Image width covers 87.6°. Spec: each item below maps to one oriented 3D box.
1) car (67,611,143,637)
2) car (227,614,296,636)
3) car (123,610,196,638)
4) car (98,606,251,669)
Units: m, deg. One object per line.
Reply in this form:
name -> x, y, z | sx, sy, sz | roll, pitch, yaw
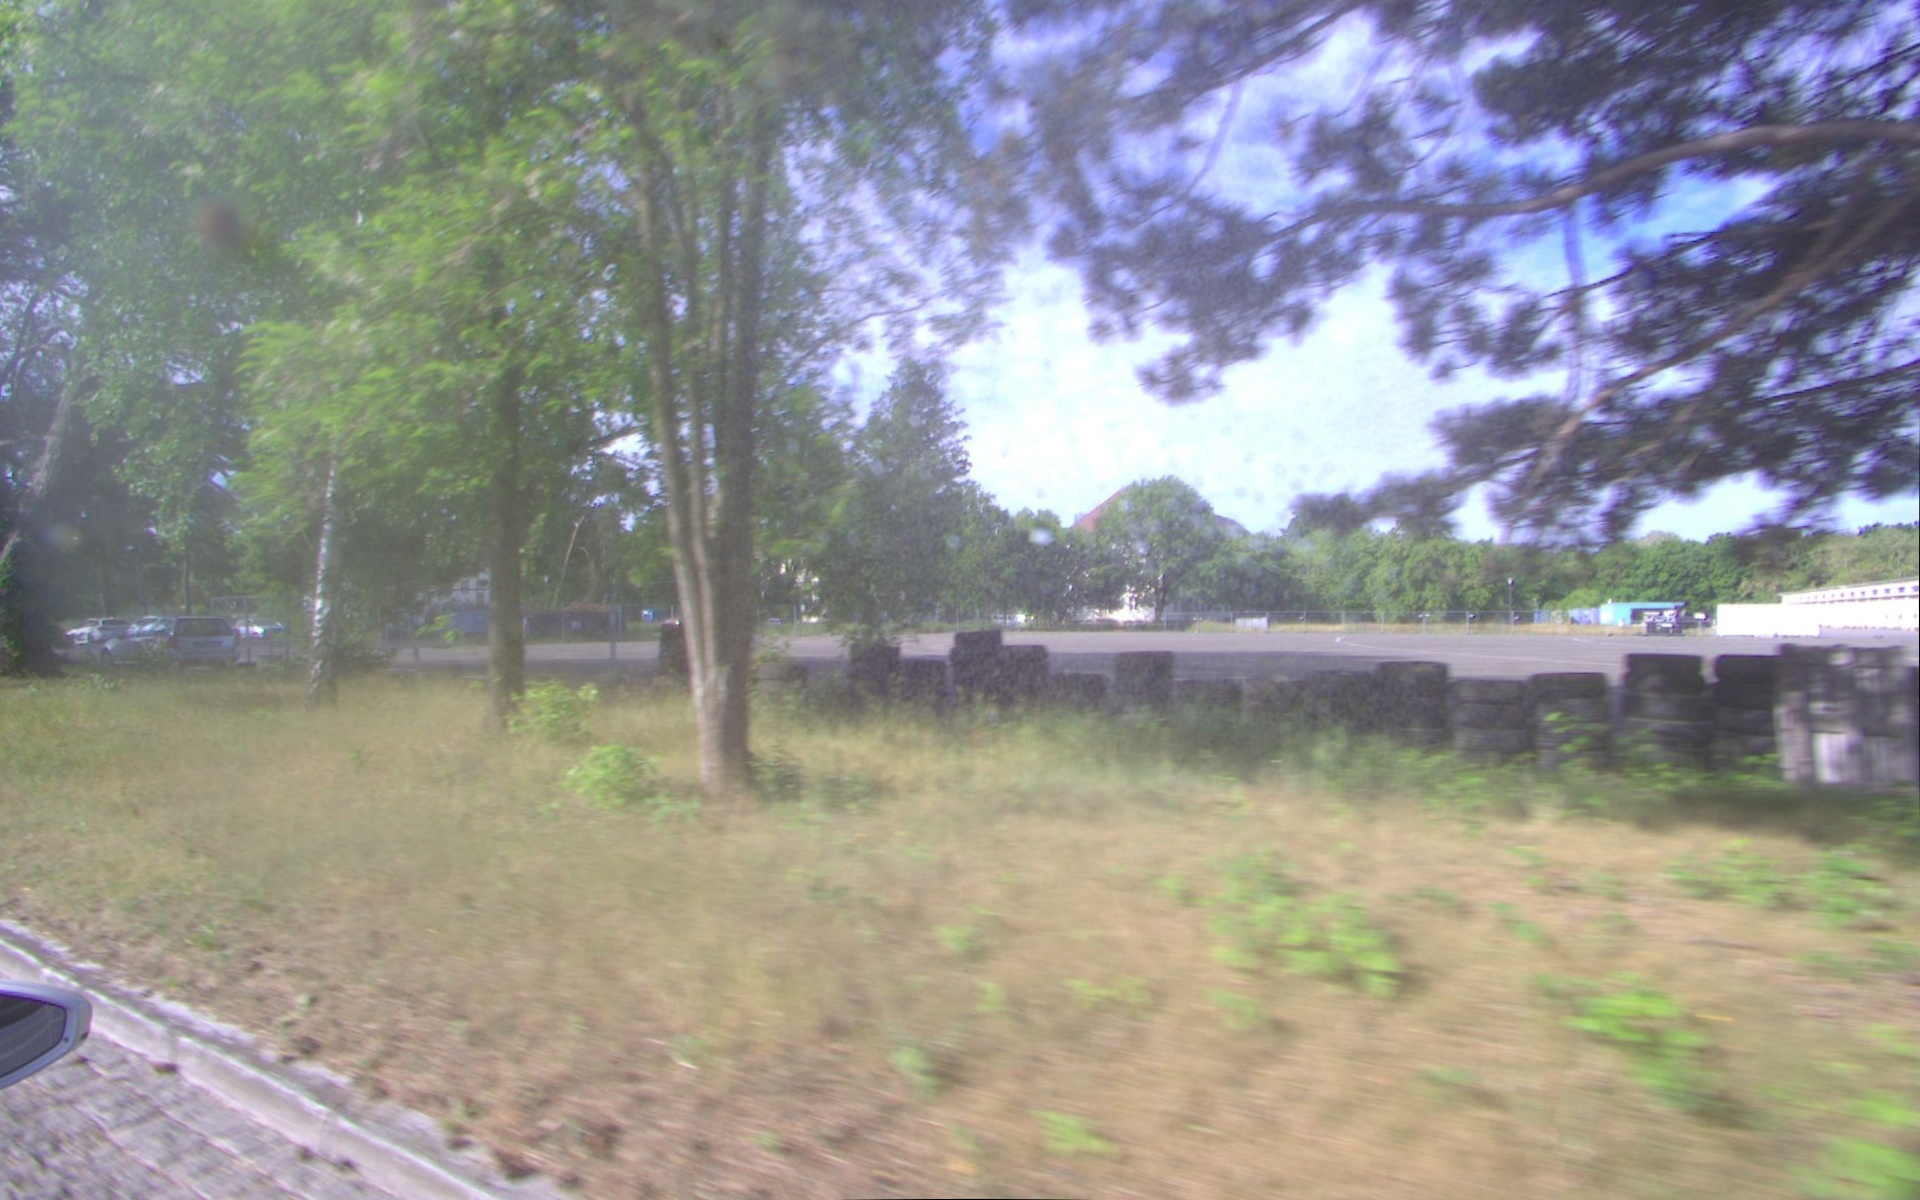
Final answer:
car -> -45.936, 1.282, 53.801 | 4.265, 1.329, 1.729 | 0, -1, 29
car -> -42.530, 1.497, 60.961 | 4.265, 1.329, 1.729 | 0, 0, 29
car -> -44.865, 1.316, 56.104 | 4.265, 1.496, 1.729 | 0, -1, 29
car -> -19.927, 0.902, 25.376 | 3.939, 1.487, 1.666 | 0, 0, 29
